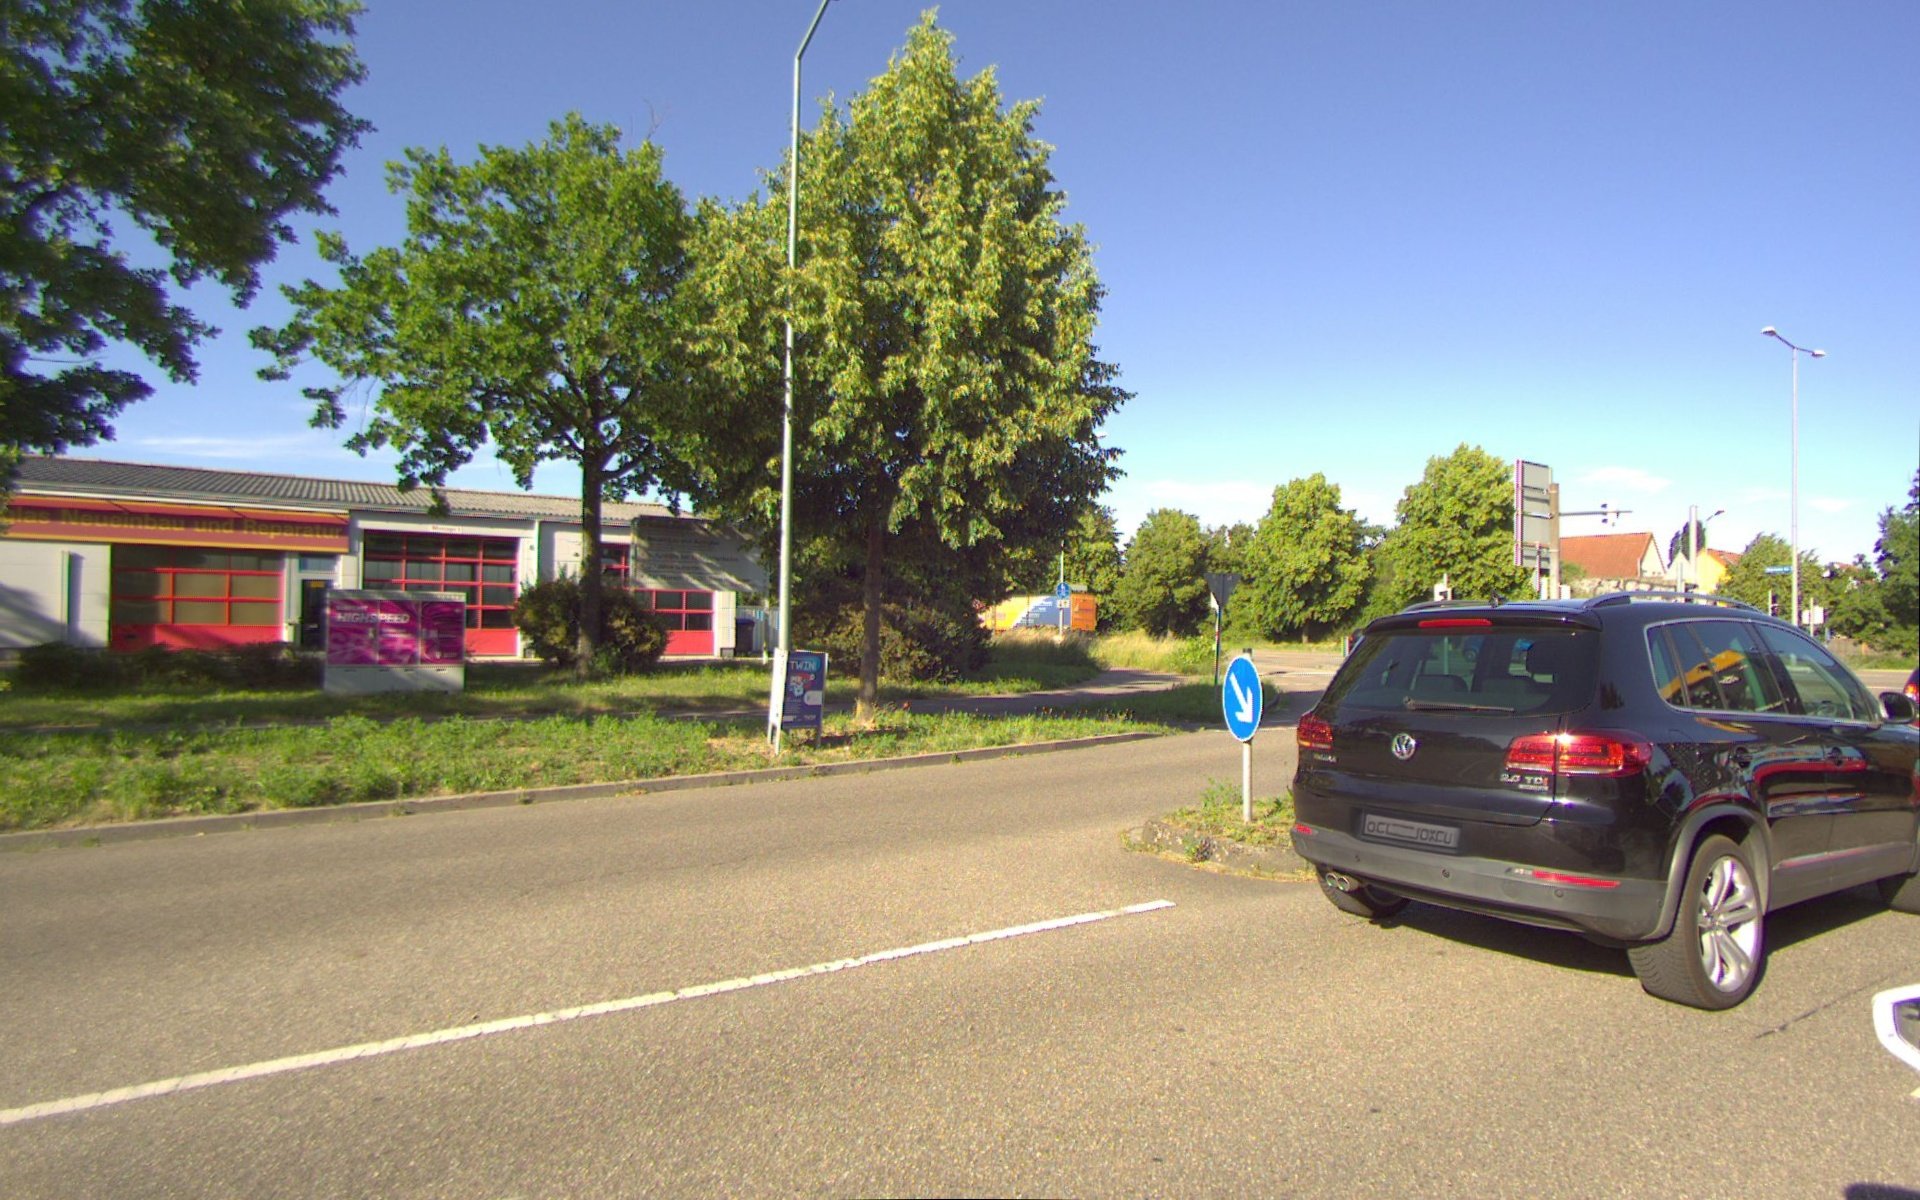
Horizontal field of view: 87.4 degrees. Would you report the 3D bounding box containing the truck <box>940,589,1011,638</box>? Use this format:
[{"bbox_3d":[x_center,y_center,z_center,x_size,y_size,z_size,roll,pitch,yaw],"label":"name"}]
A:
[{"bbox_3d":[1.385,1.228,91.323,3.408,4.253,6.177,2,0,-36],"label":"truck"}]

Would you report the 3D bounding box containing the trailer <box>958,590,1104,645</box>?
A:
[{"bbox_3d":[5.640,1.349,85.348,3.408,4.241,15.204,2,0,-36],"label":"trailer"}]

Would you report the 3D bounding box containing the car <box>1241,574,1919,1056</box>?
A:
[{"bbox_3d":[3.558,0.827,5.309,3.954,1.675,1.763,1,-3,-31],"label":"car"}]

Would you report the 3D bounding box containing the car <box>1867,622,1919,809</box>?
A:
[{"bbox_3d":[10.235,1.012,9.210,3.954,1.610,1.753,1,-3,-31],"label":"car"}]

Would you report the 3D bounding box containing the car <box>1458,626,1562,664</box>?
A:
[{"bbox_3d":[23.760,1.911,43.493,1.733,1.581,3.559,2,-2,-35],"label":"car"}]
